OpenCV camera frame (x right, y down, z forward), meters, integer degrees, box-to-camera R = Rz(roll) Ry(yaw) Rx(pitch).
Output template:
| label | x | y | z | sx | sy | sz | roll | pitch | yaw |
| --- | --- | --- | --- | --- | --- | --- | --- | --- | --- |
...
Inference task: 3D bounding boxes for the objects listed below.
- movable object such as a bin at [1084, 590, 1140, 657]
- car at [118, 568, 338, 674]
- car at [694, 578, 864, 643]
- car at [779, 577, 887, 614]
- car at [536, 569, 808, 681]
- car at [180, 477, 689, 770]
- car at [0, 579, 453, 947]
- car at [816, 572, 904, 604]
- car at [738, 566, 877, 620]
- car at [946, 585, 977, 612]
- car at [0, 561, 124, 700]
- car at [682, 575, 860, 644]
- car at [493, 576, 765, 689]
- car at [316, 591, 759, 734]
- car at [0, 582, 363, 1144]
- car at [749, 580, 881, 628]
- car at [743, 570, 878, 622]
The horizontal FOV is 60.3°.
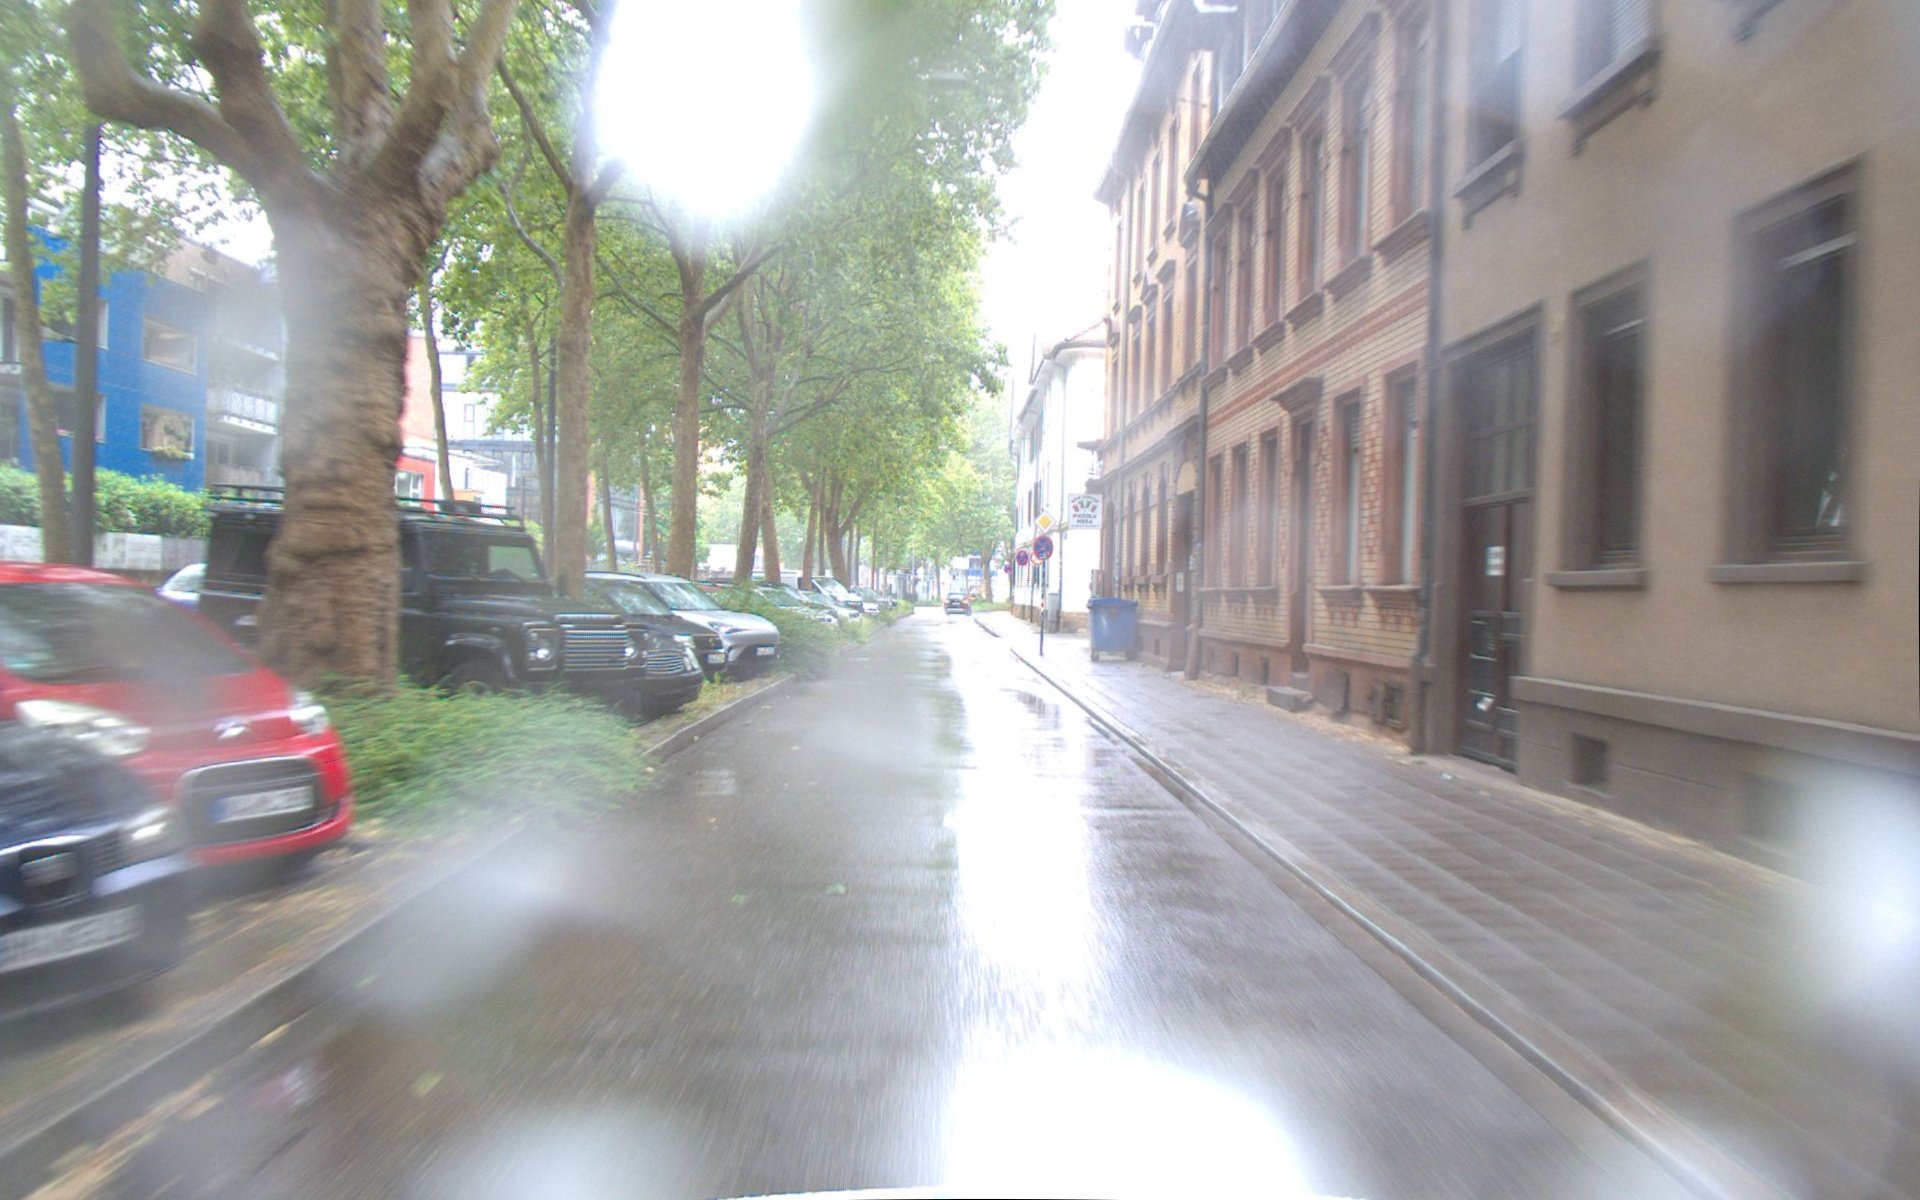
| label | x | y | z | sx | sy | sz | roll | pitch | yaw |
| --- | --- | --- | --- | --- | --- | --- | --- | --- | --- |
| movable object such as a bin | 3.274 | 0.498 | 35.653 | 1.000 | 1.324 | 1.367 | -3 | 2 | -1 |
| car | -11.885 | 0.279 | 27.182 | 1.866 | 1.560 | 4.214 | 1 | 1 | -2 |
| car | -4.980 | 0.240 | 45.430 | 4.318 | 1.689 | 1.928 | 0 | 1 | 27 |
| car | -5.529 | -0.194 | 72.030 | 4.460 | 1.508 | 1.772 | 0 | 1 | 30 |
| car | -4.571 | 0.337 | 26.143 | 3.976 | 1.564 | 1.832 | 2 | 2 | 30 |
| car | -4.874 | 0.151 | 15.158 | 4.562 | 2.323 | 2.007 | 0 | 1 | 33 |
| car | -4.444 | 0.635 | 8.194 | 3.424 | 1.461 | 1.780 | 0 | 1 | 27 |
| car | -5.392 | -0.680 | 88.980 | 4.370 | 1.624 | 1.922 | 1 | 2 | 26 |
| car | -5.886 | -0.264 | 63.610 | 5.020 | 2.012 | 2.099 | 0 | 1 | 30 |
| car | 0.085 | -0.125 | 110.687 | 1.953 | 1.668 | 3.999 | 1 | 1 | -1 |
| car | -11.866 | 0.330 | 19.544 | 1.866 | 1.560 | 4.419 | 1 | 1 | -2 |
| car | -4.899 | 0.244 | 42.766 | 4.322 | 1.674 | 1.868 | -1 | 0 | 31 |
| car | -4.678 | 0.416 | 23.459 | 3.427 | 1.493 | 1.643 | 0 | 1 | 21 |
| car | -4.596 | 0.594 | 17.890 | 4.554 | 1.349 | 1.845 | 0 | 1 | 27 |
| car | -4.155 | 0.678 | 5.517 | 3.952 | 1.460 | 1.781 | 0 | 1 | 24 |
| car | -4.950 | 0.114 | 56.449 | 4.218 | 1.462 | 1.746 | 2 | 2 | 26 |
| car | -4.823 | -0.149 | 53.422 | 3.974 | 1.525 | 1.747 | 2 | 2 | 23 |
